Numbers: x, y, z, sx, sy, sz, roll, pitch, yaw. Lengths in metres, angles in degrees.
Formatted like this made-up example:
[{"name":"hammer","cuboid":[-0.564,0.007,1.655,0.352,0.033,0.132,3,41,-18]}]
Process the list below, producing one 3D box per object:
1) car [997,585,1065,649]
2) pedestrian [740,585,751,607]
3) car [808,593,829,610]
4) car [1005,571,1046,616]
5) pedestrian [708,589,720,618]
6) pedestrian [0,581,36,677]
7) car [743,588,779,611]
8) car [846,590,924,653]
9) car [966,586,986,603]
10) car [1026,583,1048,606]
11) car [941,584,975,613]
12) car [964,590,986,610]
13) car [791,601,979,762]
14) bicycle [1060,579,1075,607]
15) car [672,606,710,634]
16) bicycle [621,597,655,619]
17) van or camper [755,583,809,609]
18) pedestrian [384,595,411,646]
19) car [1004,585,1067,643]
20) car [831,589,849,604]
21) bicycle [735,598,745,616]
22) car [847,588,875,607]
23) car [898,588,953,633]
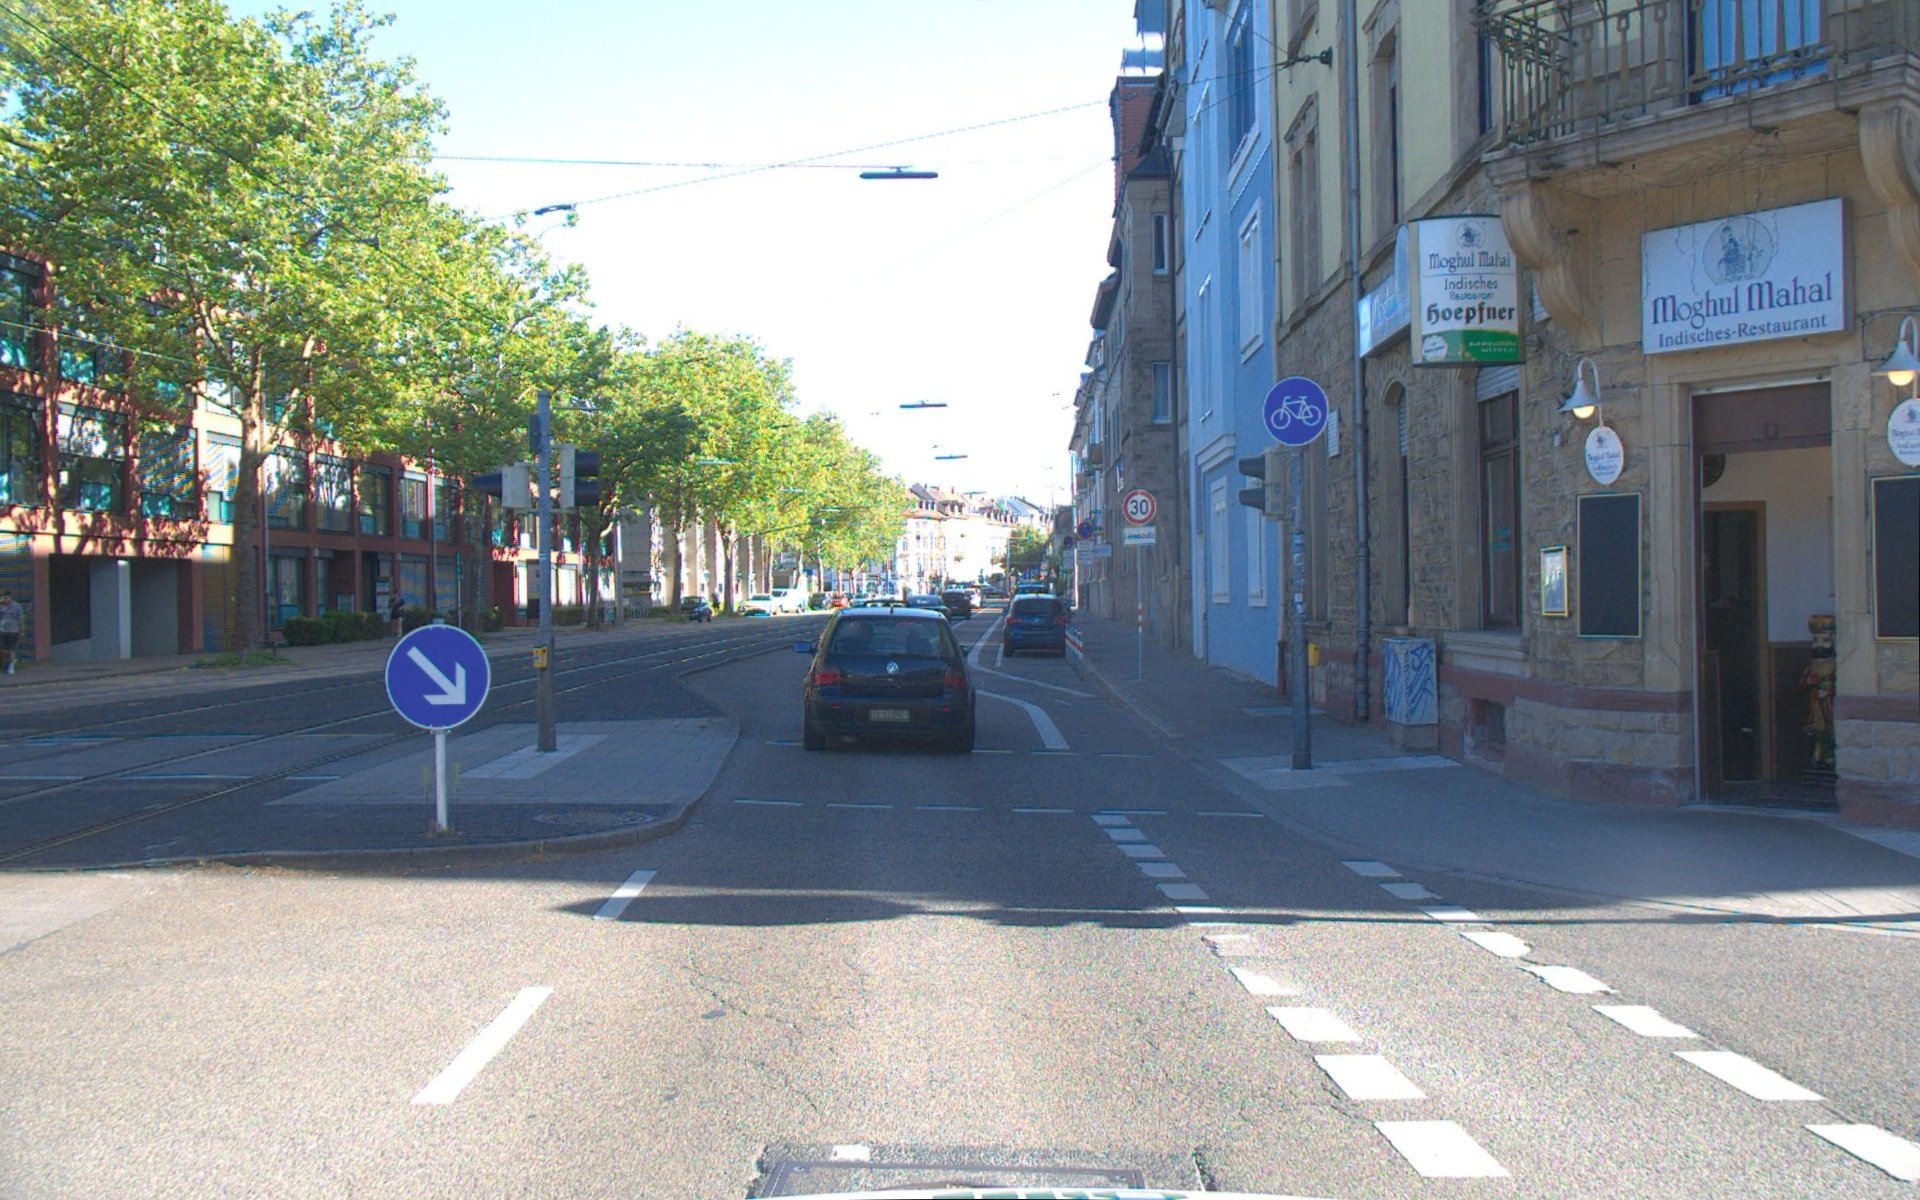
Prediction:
[{"name":"car","cuboid":[1.758,0.393,41.435,1.621,1.508,4.001,0,0,2]},{"name":"pedestrian","cuboid":[-18.348,-0.312,141.518,0.780,1.852,0.670,1,1,2]},{"name":"car","cuboid":[-13.224,0.145,154.735,1.537,1.560,3.573,-1,0,2]},{"name":"car","cuboid":[2.840,-0.285,72.241,1.716,1.888,4.817,0,1,2]},{"name":"pedestrian","cuboid":[-16.639,0.249,111.806,0.771,1.902,0.669,0,1,-13]},{"name":"pedestrian","cuboid":[-20.693,0.610,35.861,0.893,2.049,0.780,1,1,-7]},{"name":"car","cuboid":[-14.414,-0.060,120.196,1.970,1.600,4.694,1,1,1]},{"name":"car","cuboid":[-1.972,0.540,44.474,1.712,1.564,3.893,-1,1,3]},{"name":"car","cuboid":[1.435,-0.516,146.440,1.602,1.498,3.730,-1,0,2]},{"name":"car","cuboid":[6.283,-0.466,135.711,1.722,1.870,3.549,1,1,2]},{"name":"car","cuboid":[-0.082,-0.097,86.737,1.602,1.498,3.730,-1,0,2]},{"name":"car","cuboid":[1.226,-0.027,130.814,1.602,1.498,3.730,-1,0,2]},{"name":"car","cuboid":[-0.676,0.758,17.404,1.712,1.399,4.001,-1,1,1]},{"name":"bicycle","cuboid":[4.548,-0.310,69.939,0.504,1.159,2.259,-3,1,2]},{"name":"car","cuboid":[-15.437,1.166,94.999,1.476,1.479,3.464,-2,-2,3]},{"name":"bicycle","cuboid":[-19.903,0.501,102.345,1.966,1.301,0.664,0,1,2]},{"name":"van or camper","cuboid":[-14.032,-0.310,130.518,2.018,1.983,5.189,1,1,22]},{"name":"pedestrian","cuboid":[-19.427,0.697,57.116,0.612,1.748,0.901,1,1,1]},{"name":"car","cuboid":[2.175,0.361,46.967,1.716,1.527,4.198,1,1,3]},{"name":"car","cuboid":[-12.422,-0.342,171.327,1.537,1.560,3.573,-1,0,2]},{"name":"bicycle","cuboid":[-15.223,0.460,114.620,0.569,1.230,1.653,1,1,-4]},{"name":"car","cuboid":[-8.836,-0.228,148.470,1.716,1.544,4.074,-3,0,7]},{"name":"car","cuboid":[-1.244,0.365,61.243,1.712,1.564,3.893,-1,1,3]}]
